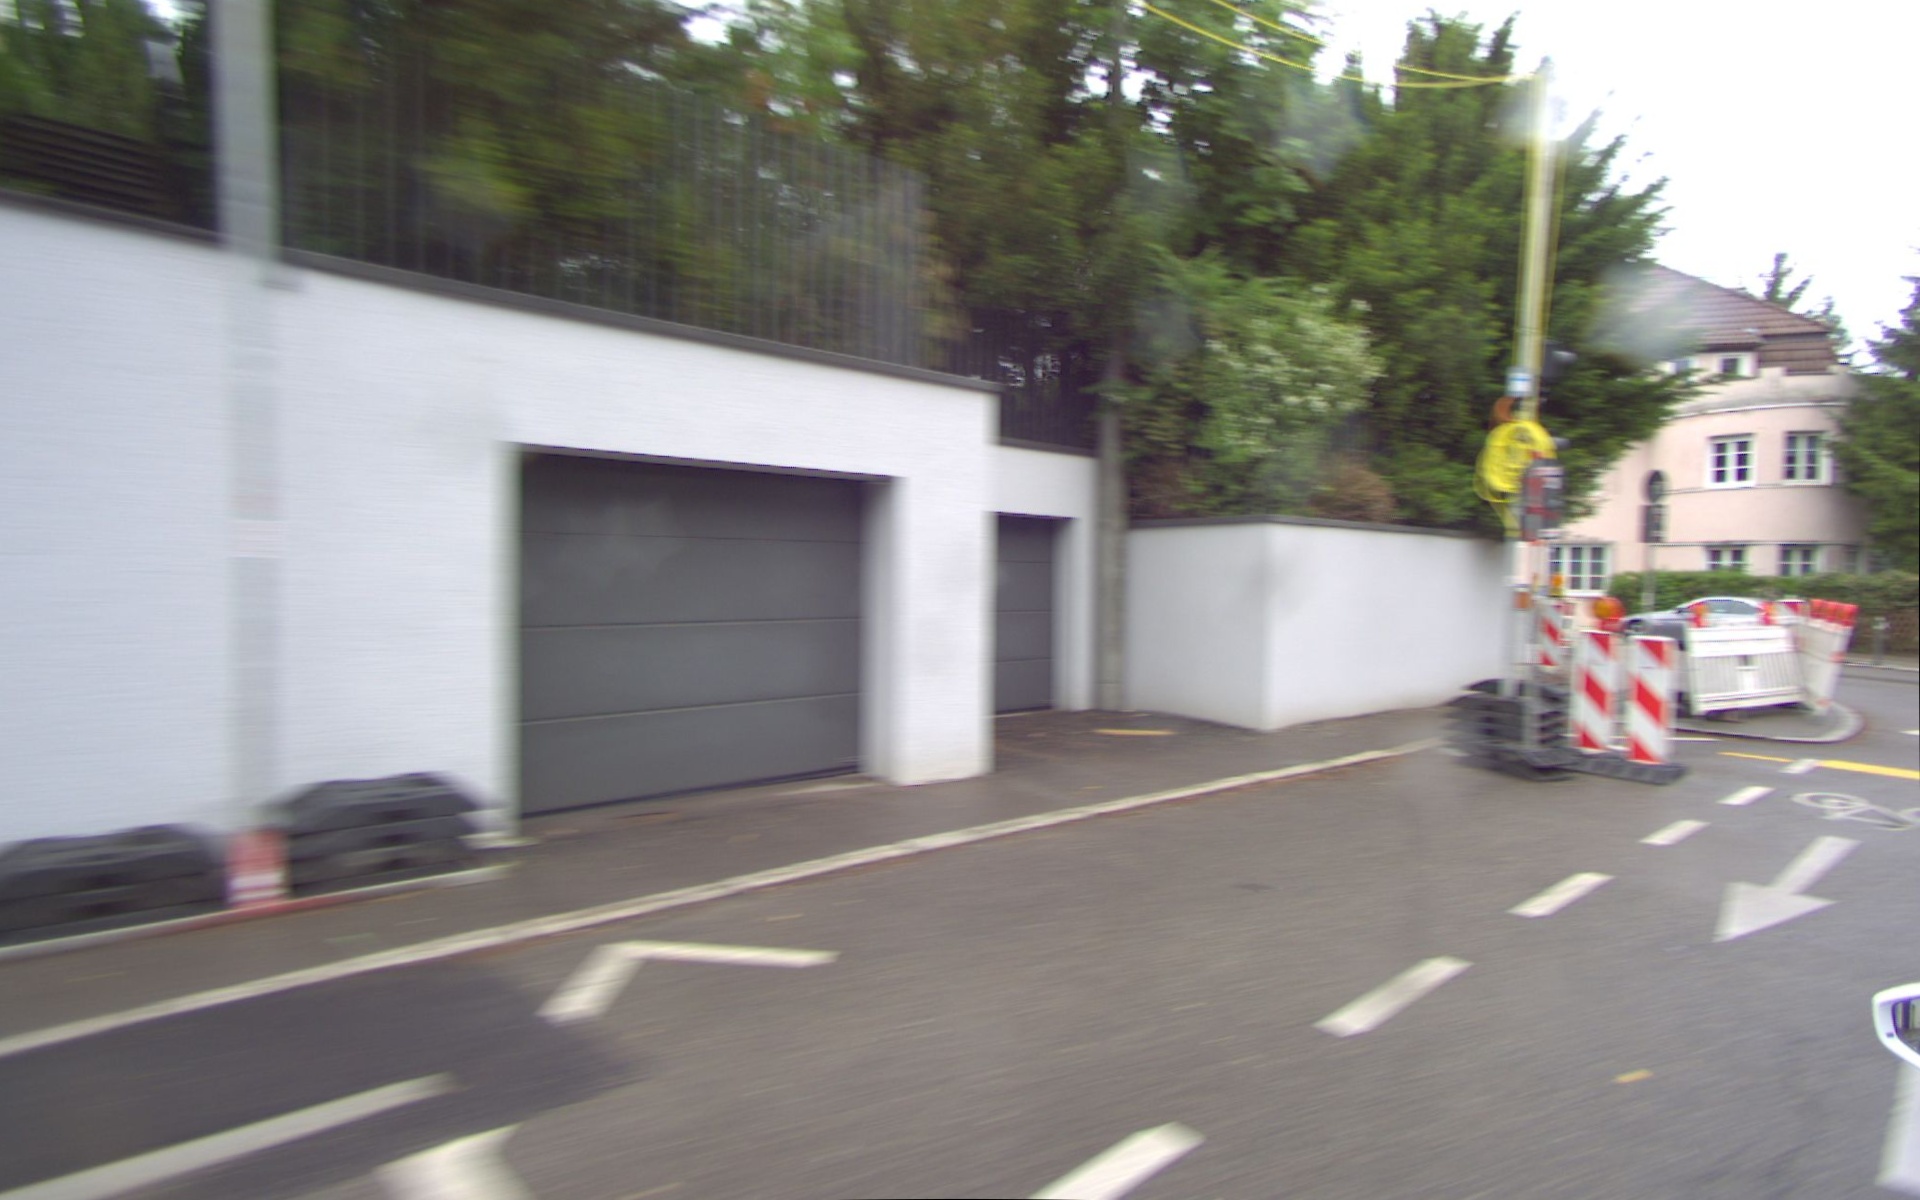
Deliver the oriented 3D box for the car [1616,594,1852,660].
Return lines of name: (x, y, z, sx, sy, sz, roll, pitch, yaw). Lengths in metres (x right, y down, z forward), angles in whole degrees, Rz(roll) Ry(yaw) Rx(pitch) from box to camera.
car: (18.482, 0.592, 24.213, 1.655, 1.284, 4.172, 1, 2, -28)

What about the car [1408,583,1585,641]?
car: (15.430, 0.306, 29.070, 1.660, 1.421, 4.157, 0, 3, -38)
